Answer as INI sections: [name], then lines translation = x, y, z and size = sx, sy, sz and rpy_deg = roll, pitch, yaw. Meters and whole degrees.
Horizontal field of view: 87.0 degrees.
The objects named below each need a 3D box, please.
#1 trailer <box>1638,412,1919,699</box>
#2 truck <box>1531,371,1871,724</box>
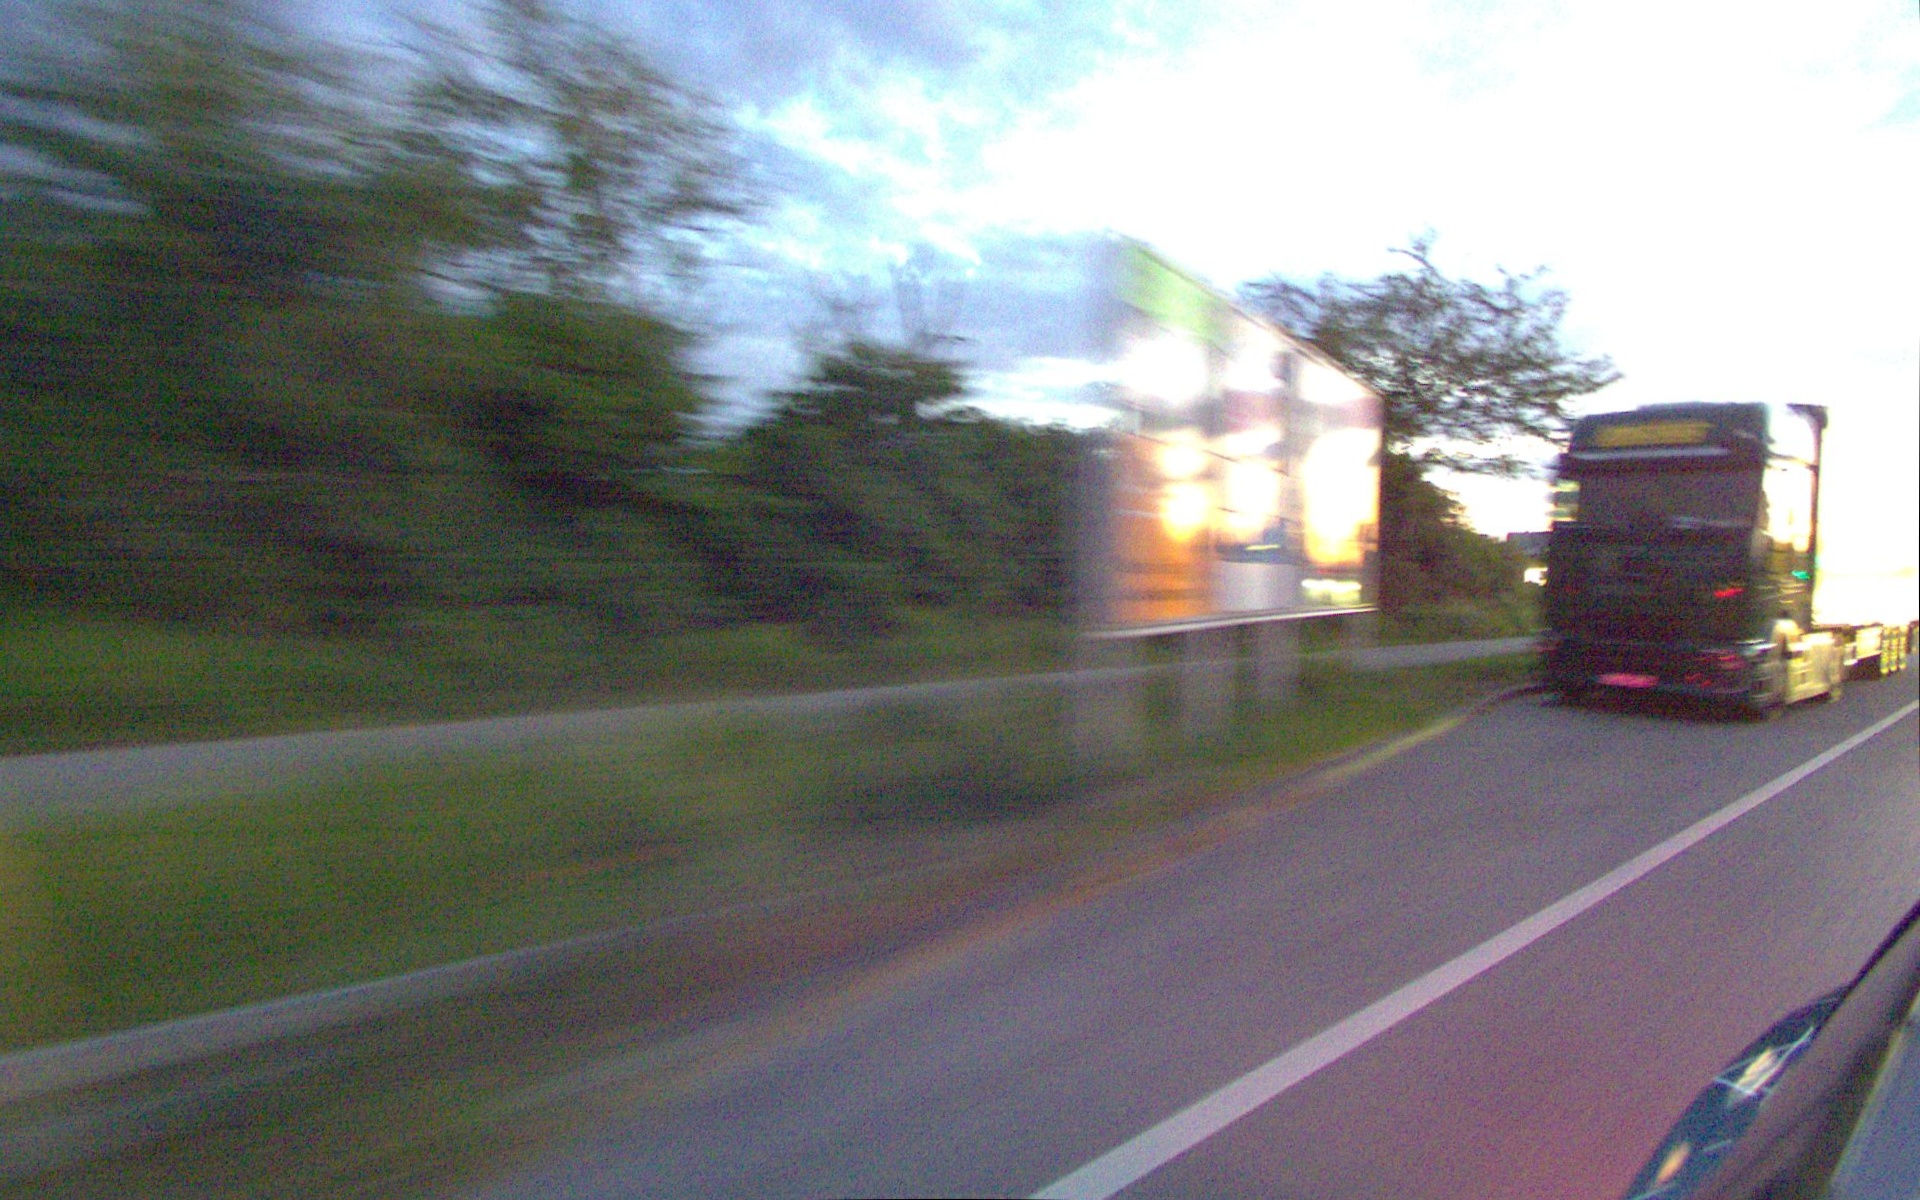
[trailer]
translation = 15.886, -0.669, 18.653
size = 12.450, 3.859, 2.473
rpy_deg = -1, 1, -41
[truck]
translation = 10.177, -0.628, 13.729
size = 5.401, 3.847, 2.490
rpy_deg = -1, 1, -40
